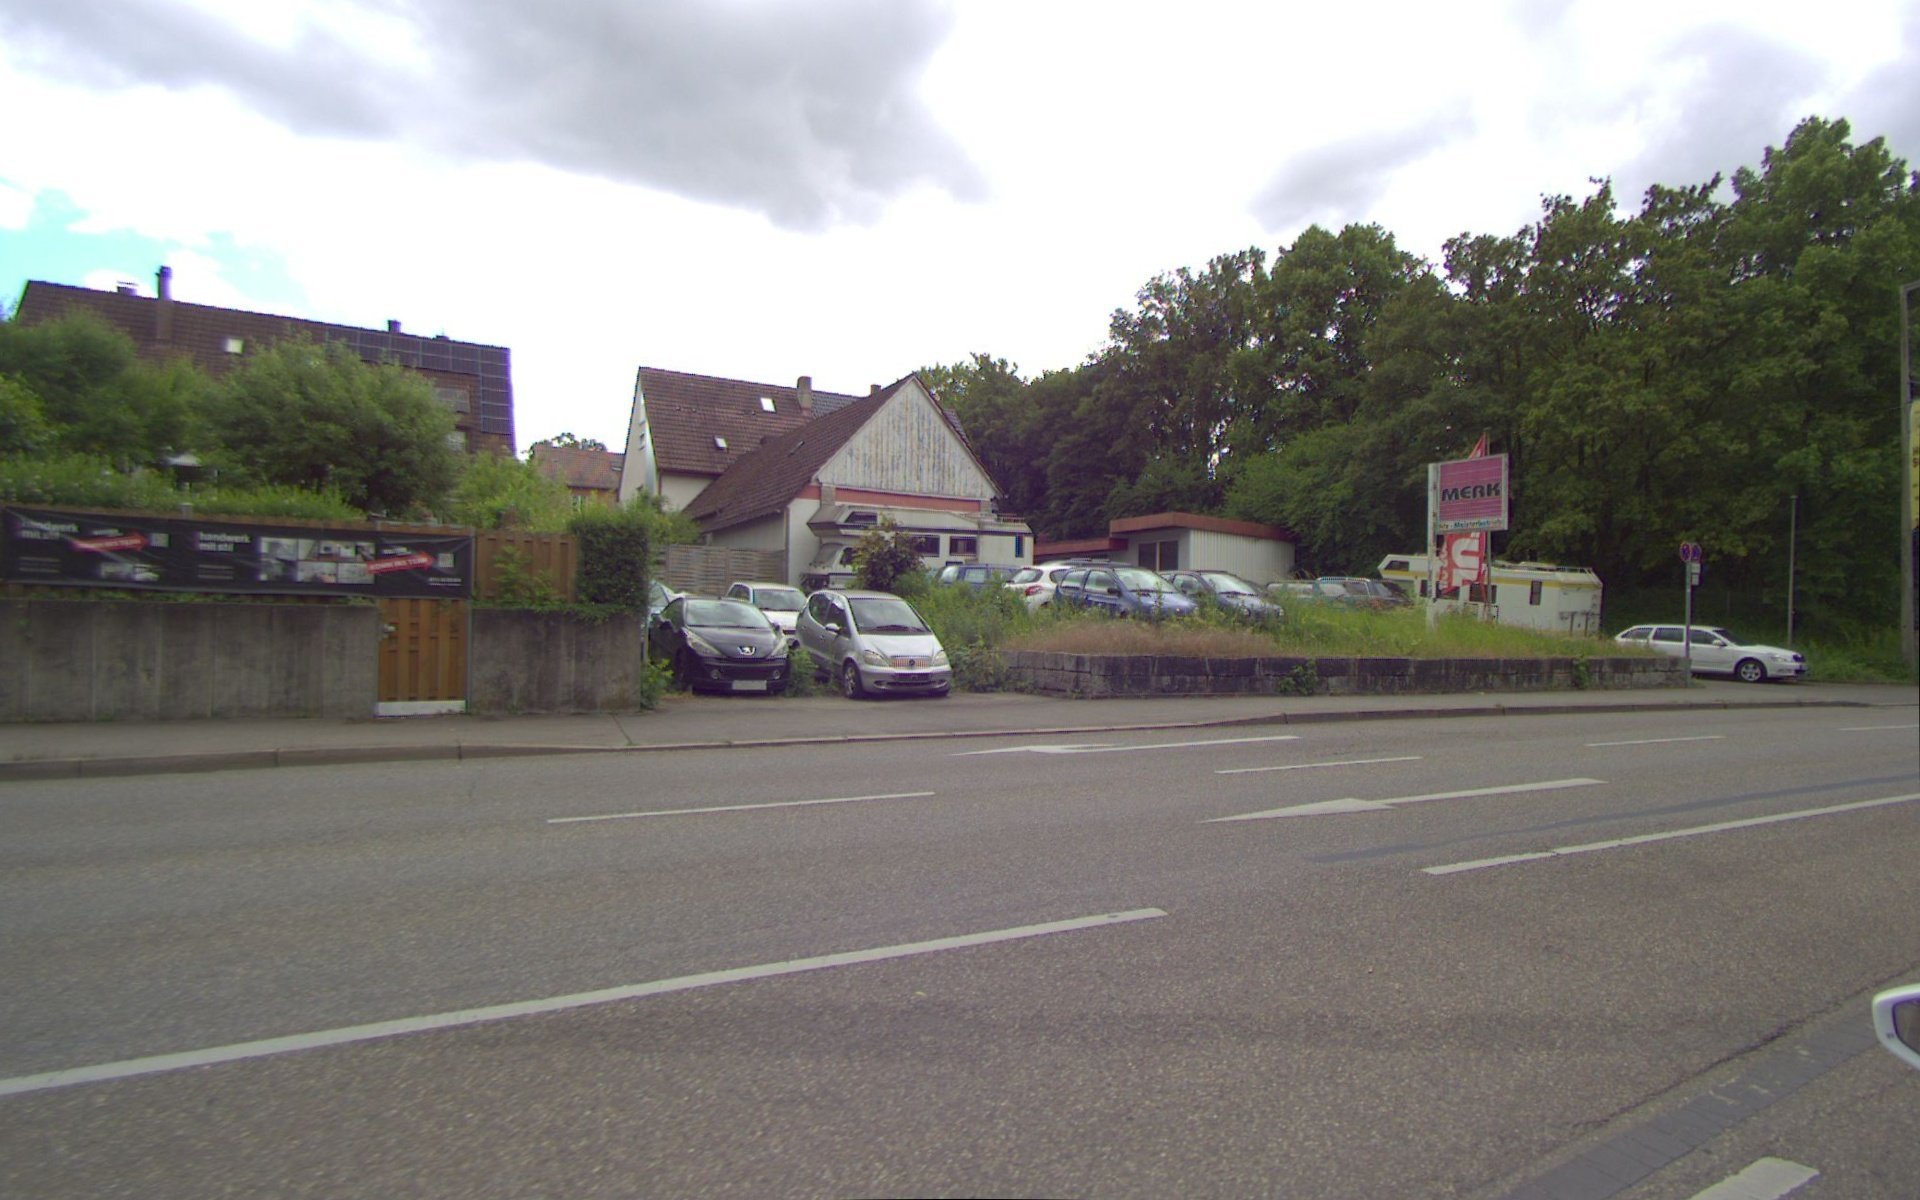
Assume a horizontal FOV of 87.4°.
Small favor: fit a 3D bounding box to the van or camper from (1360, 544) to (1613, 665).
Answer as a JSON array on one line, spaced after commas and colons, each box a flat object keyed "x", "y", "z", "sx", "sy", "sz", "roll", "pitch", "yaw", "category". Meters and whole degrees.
[{"x": 17.663, "y": 0.003, "z": 34.292, "sx": 2.763, "sy": 3.417, "sz": 7.107, "roll": 1, "pitch": 4, "yaw": -29, "category": "van or camper"}]

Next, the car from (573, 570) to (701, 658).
[{"x": -6.658, "y": 0.233, "z": 20.458, "sx": 1.753, "sy": 1.590, "sz": 3.970, "roll": 2, "pitch": 0, "yaw": -28, "category": "car"}]

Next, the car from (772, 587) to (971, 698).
[{"x": -1.647, "y": 0.649, "z": 17.240, "sx": 1.975, "sy": 1.639, "sz": 3.970, "roll": 2, "pitch": 0, "yaw": -28, "category": "car"}]

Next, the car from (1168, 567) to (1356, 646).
[{"x": 6.393, "y": 0.102, "z": 21.692, "sx": 1.625, "sy": 1.512, "sz": 3.975, "roll": 2, "pitch": 0, "yaw": -25, "category": "car"}]

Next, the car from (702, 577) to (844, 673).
[{"x": -4.141, "y": 0.484, "z": 21.756, "sx": 1.858, "sy": 1.874, "sz": 3.970, "roll": 2, "pitch": 0, "yaw": -28, "category": "car"}]

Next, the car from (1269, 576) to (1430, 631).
[{"x": 10.930, "y": 0.077, "z": 28.474, "sx": 1.973, "sy": 1.388, "sz": 3.975, "roll": 2, "pitch": 0, "yaw": -25, "category": "car"}]

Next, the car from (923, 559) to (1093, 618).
[{"x": 1.298, "y": -0.286, "z": 26.389, "sx": 4.237, "sy": 1.336, "sz": 1.660, "roll": 2, "pitch": 0, "yaw": -31, "category": "car"}]

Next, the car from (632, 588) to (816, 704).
[{"x": -4.014, "y": 0.668, "z": 16.580, "sx": 1.975, "sy": 1.625, "sz": 3.970, "roll": 2, "pitch": 0, "yaw": -28, "category": "car"}]

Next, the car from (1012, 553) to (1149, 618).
[{"x": 4.373, "y": -0.489, "z": 36.317, "sx": 4.694, "sy": 2.090, "sz": 1.871, "roll": 2, "pitch": 0, "yaw": -30, "category": "car"}]

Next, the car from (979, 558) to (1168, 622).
[{"x": 2.765, "y": -0.208, "z": 24.143, "sx": 4.353, "sy": 1.359, "sz": 1.837, "roll": 2, "pitch": -1, "yaw": -33, "category": "car"}]

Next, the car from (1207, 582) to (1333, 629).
[{"x": 12.466, "y": 0.245, "z": 40.289, "sx": 4.909, "sy": 1.711, "sz": 1.894, "roll": 2, "pitch": 0, "yaw": -28, "category": "car"}]

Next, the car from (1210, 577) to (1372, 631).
[{"x": 8.755, "y": 0.076, "z": 26.878, "sx": 1.863, "sy": 1.285, "sz": 3.914, "roll": 2, "pitch": 0, "yaw": -28, "category": "car"}]

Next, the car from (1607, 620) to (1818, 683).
[{"x": 21.123, "y": 1.396, "z": 28.375, "sx": 1.940, "sy": 1.460, "sz": 4.351, "roll": 1, "pitch": 1, "yaw": -32, "category": "car"}]

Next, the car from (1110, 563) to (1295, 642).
[{"x": 4.821, "y": 0.025, "z": 20.539, "sx": 1.513, "sy": 1.429, "sz": 3.975, "roll": 2, "pitch": 0, "yaw": -25, "category": "car"}]

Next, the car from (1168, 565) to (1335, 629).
[{"x": 7.095, "y": -0.100, "z": 24.834, "sx": 1.892, "sy": 1.397, "sz": 3.828, "roll": 2, "pitch": 0, "yaw": -25, "category": "car"}]

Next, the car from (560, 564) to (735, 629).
[{"x": -8.377, "y": -0.087, "z": 27.238, "sx": 4.329, "sy": 1.531, "sz": 1.993, "roll": 2, "pitch": 0, "yaw": -16, "category": "car"}]

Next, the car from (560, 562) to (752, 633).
[{"x": -7.442, "y": -0.046, "z": 24.825, "sx": 4.330, "sy": 1.517, "sz": 1.925, "roll": 2, "pitch": 0, "yaw": -17, "category": "car"}]

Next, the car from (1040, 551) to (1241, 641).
[{"x": 3.342, "y": -0.088, "z": 19.401, "sx": 1.834, "sy": 1.517, "sz": 3.975, "roll": 2, "pitch": 0, "yaw": -25, "category": "car"}]
